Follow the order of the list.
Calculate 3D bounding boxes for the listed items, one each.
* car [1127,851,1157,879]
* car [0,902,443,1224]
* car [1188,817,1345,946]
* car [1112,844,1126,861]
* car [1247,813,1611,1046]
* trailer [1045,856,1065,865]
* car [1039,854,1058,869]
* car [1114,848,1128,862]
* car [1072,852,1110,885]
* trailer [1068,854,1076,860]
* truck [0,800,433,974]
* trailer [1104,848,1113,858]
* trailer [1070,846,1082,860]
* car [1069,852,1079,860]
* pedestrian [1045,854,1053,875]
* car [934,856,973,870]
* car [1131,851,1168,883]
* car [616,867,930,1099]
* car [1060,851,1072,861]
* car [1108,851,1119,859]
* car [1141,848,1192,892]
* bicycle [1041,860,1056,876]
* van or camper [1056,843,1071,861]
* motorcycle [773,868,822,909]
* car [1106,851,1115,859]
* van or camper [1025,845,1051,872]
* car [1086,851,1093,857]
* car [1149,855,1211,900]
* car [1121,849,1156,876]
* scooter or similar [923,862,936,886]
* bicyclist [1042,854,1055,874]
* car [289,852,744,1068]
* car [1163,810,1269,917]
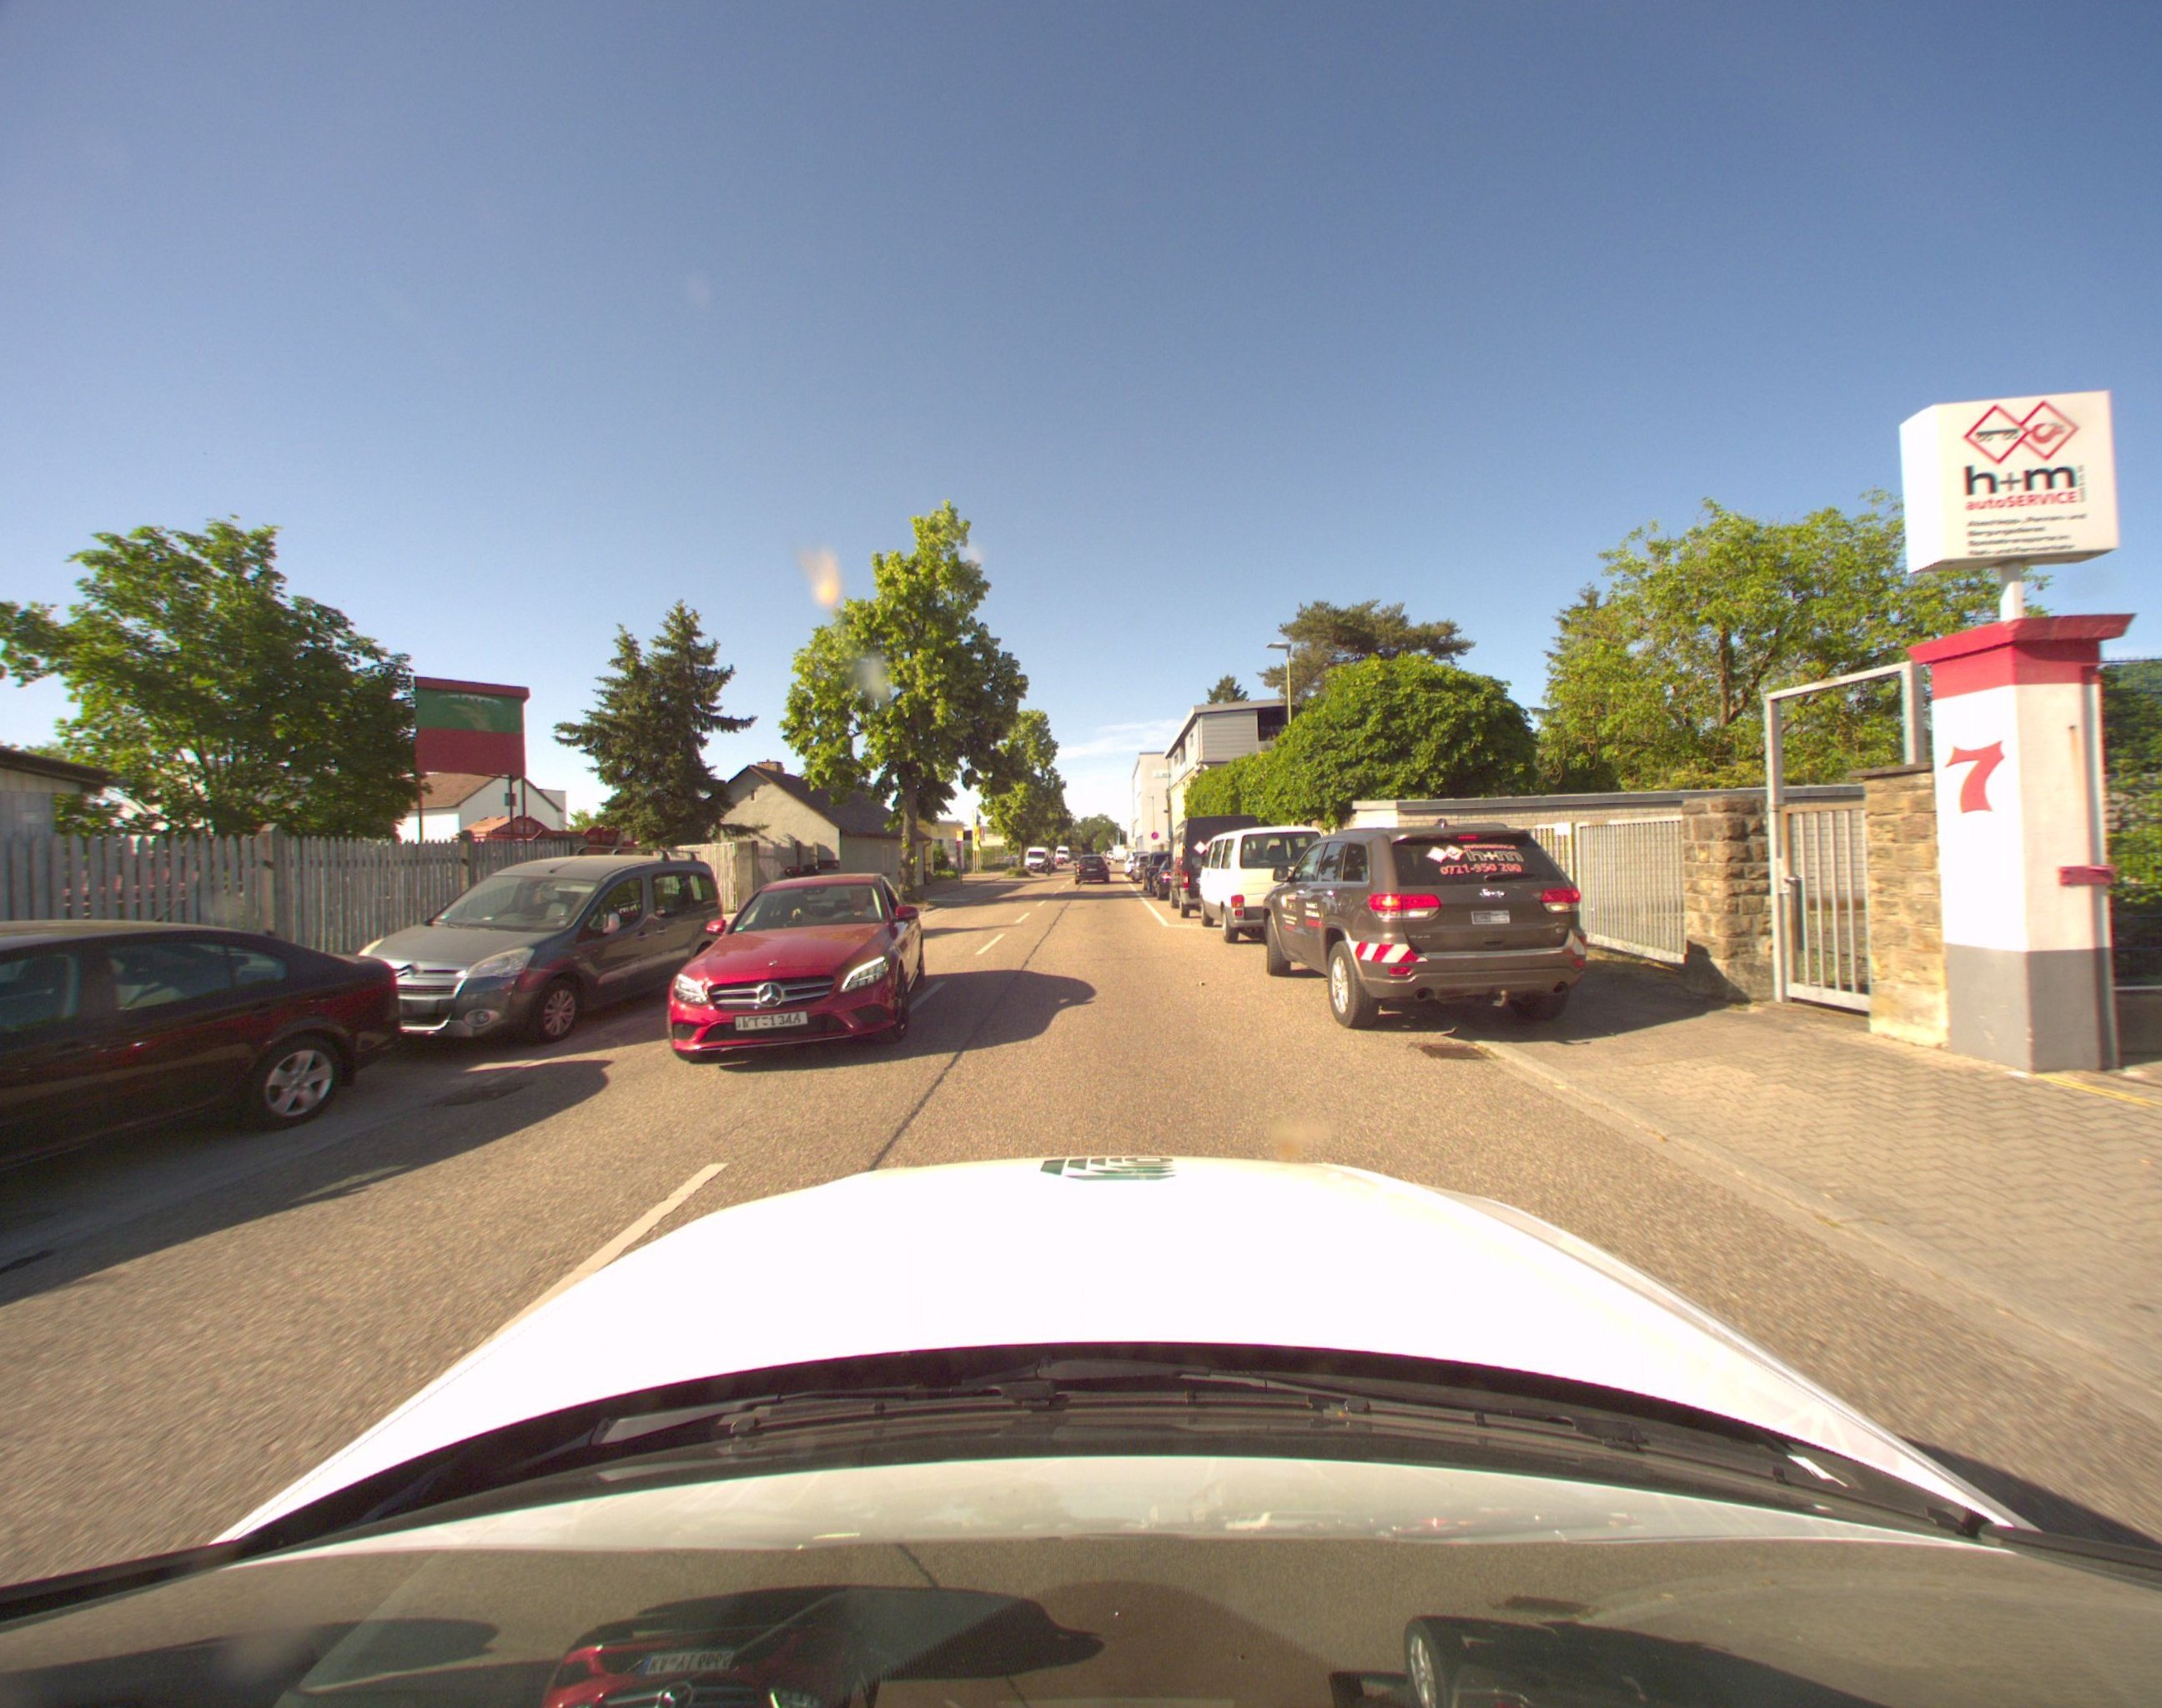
[{"bbox_3d":[3.602,0.625,47.563,1.591,1.473,4.195,-2,0,5],"label":"car"},{"bbox_3d":[-6.320,1.137,4.548,1.769,1.448,4.617,0,0,2],"label":"car"},{"bbox_3d":[3.217,0.423,15.165,1.885,1.925,4.923,-2,0,2],"label":"car"},{"bbox_3d":[6.456,-0.278,139.034,1.987,2.597,6.050,-4,1,0],"label":"car"},{"bbox_3d":[3.121,0.588,8.589,1.795,1.744,4.913,0,-1,1],"label":"car"},{"bbox_3d":[-3.515,0.864,111.637,2.368,1.080,6.246,2,1,1],"label":"trailer"},{"bbox_3d":[-3.651,0.836,92.315,1.793,1.510,5.004,2,0,2],"label":"car"},{"bbox_3d":[5.541,0.156,112.997,1.882,1.832,5.094,-2,0,3],"label":"car"},{"bbox_3d":[0.566,0.727,42.290,1.840,1.530,4.002,-2,0,2],"label":"car"},{"bbox_3d":[-1.757,0.620,164.754,1.471,1.354,3.079,0,0,1],"label":"trailer"},{"bbox_3d":[-19.453,0.684,18.170,7.392,3.339,2.900,-2,0,-2],"label":"truck"},{"bbox_3d":[7.707,-0.344,231.225,2.451,2.672,5.702,-2,0,1],"label":"trailer"},{"bbox_3d":[-1.335,-0.237,223.846,2.982,3.443,8.159,-2,0,0],"label":"trailer"},{"bbox_3d":[-1.589,0.496,183.163,1.784,1.730,4.806,-2,0,3],"label":"car"},{"bbox_3d":[-2.577,0.852,65.639,0.592,1.698,0.640,0,-1,1],"label":"pedestrian"},{"bbox_3d":[-15.107,1.052,96.718,4.131,1.574,1.922,-2,0,11],"label":"car"},{"bbox_3d":[3.487,0.611,41.943,1.653,1.505,4.033,-2,0,2],"label":"car"},{"bbox_3d":[-2.560,0.922,7.980,1.869,1.420,4.516,-4,0,-9],"label":"car"},{"bbox_3d":[-2.618,0.380,143.530,2.024,1.694,5.105,2,0,0],"label":"car"},{"bbox_3d":[6.070,0.253,150.404,1.888,1.405,5.124,0,0,1],"label":"car"},{"bbox_3d":[3.337,0.597,32.383,1.675,1.613,4.207,-1,0,2],"label":"car"},{"bbox_3d":[-2.601,1.085,65.369,0.835,1.240,2.607,0,-1,4],"label":"bicycle"},{"bbox_3d":[-2.755,-0.382,130.400,1.958,2.685,5.952,3,0,3],"label":"van or camper"},{"bbox_3d":[-9.403,1.119,27.159,0.697,1.233,2.539,0,0,1],"label":"motorcycle"},{"bbox_3d":[7.109,0.193,194.755,1.879,1.797,5.103,0,-1,0],"label":"car"},{"bbox_3d":[-4.271,0.408,81.487,2.063,2.549,6.405,2,0,1],"label":"van or camper"},{"bbox_3d":[2.394,0.048,222.614,1.741,1.447,4.361,-2,0,1],"label":"car"},{"bbox_3d":[3.253,0.731,27.305,1.648,1.318,4.106,-2,0,2],"label":"car"},{"bbox_3d":[3.792,0.533,54.148,1.926,1.644,4.769,-2,0,0],"label":"car"},{"bbox_3d":[-8.326,1.064,44.743,0.483,1.270,1.570,-2,0,-16],"label":"scooter or similar"},{"bbox_3d":[-2.606,0.789,65.369,0.835,1.542,1.138,0,-1,4],"label":"bicyclist"},{"bbox_3d":[-5.867,0.911,9.371,1.767,1.849,4.620,0,0,4],"label":"car"},{"bbox_3d":[3.209,0.196,20.400,1.885,2.260,5.148,-2,0,2],"label":"car"}]
